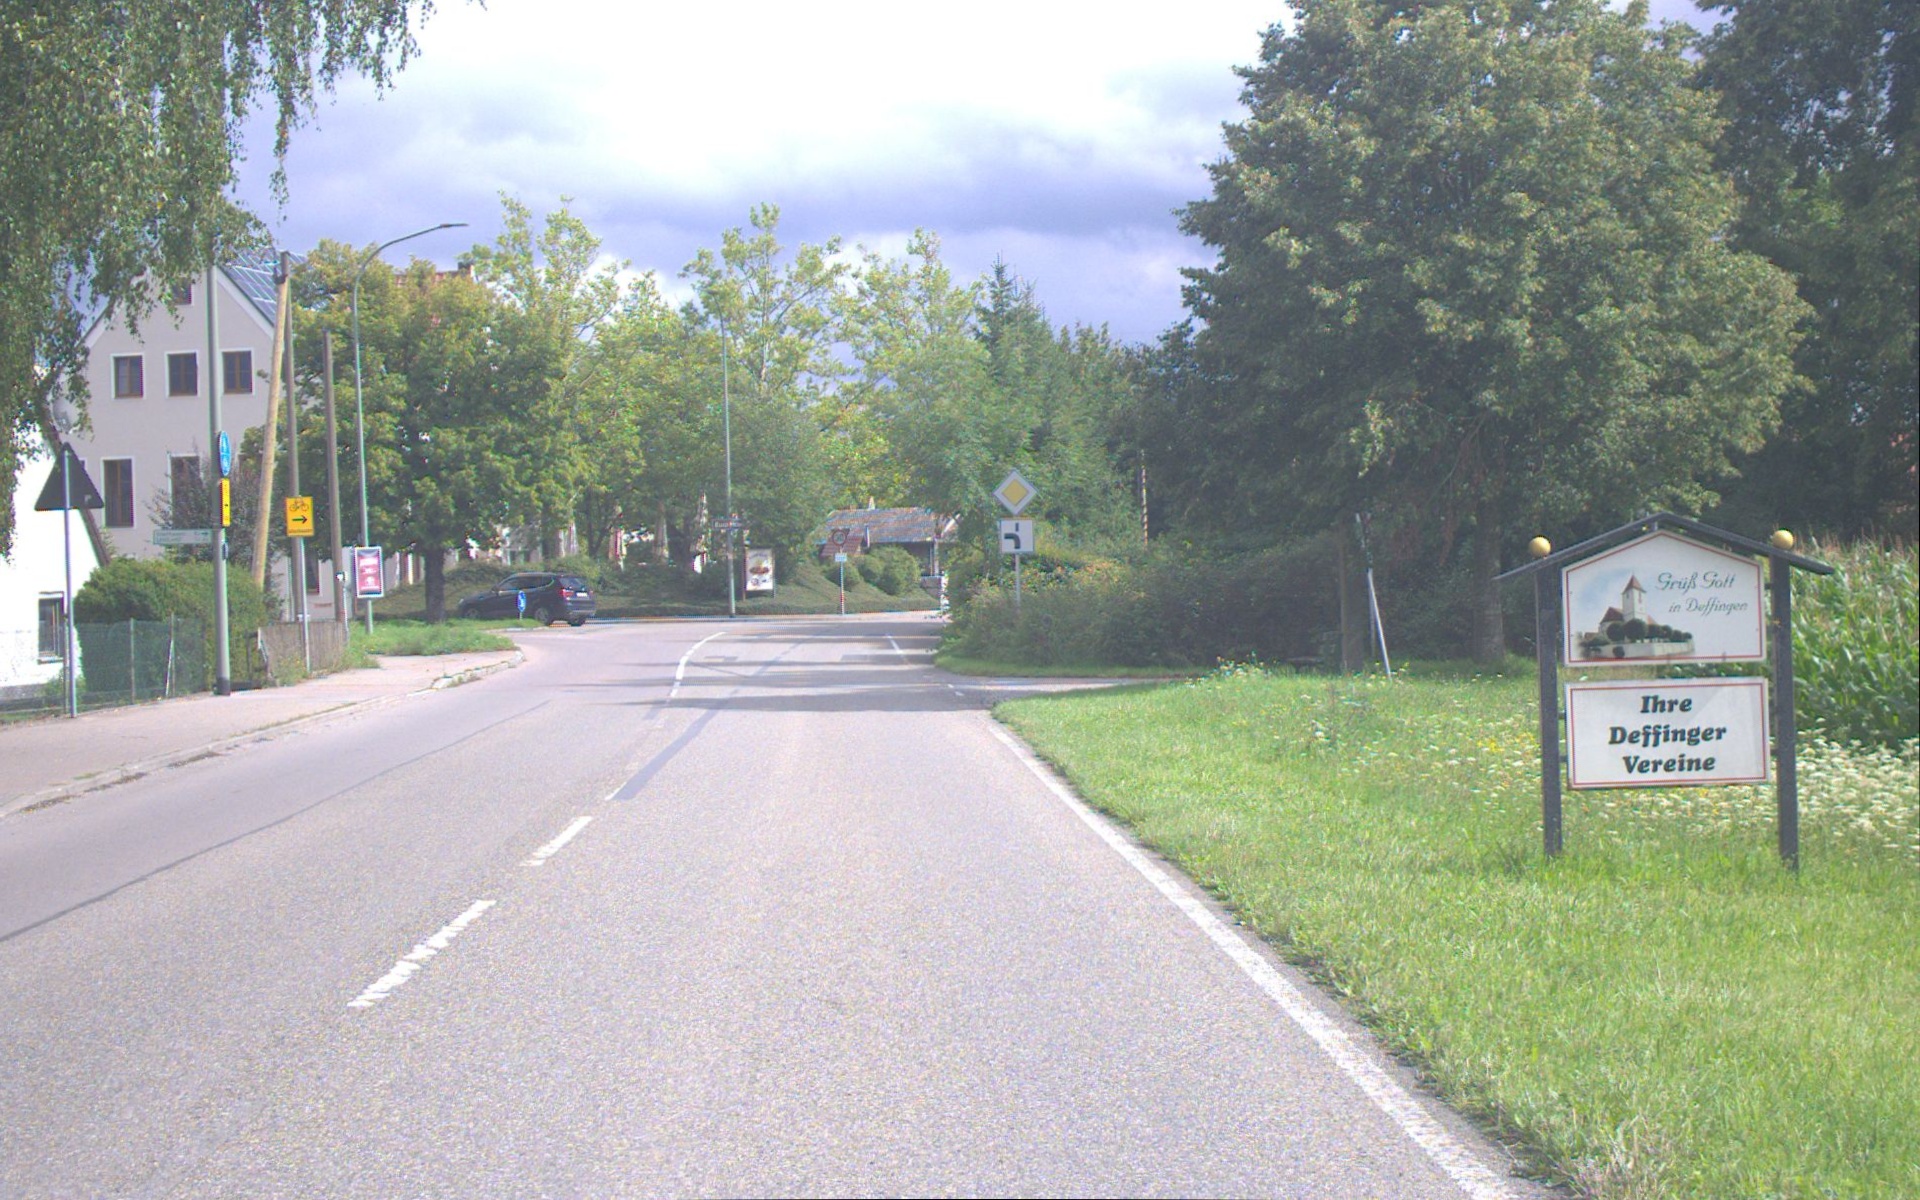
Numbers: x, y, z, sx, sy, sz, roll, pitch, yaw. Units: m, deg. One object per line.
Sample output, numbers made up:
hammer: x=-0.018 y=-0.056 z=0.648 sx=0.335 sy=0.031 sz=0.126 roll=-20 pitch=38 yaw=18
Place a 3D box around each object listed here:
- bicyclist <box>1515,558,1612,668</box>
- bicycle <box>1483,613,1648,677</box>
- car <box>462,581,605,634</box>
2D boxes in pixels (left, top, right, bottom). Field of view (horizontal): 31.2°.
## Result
bicyclist: x=8.754 y=0.179 z=49.923 sx=1.017 sy=1.580 sz=1.054 roll=0 pitch=0 yaw=-16
bicycle: x=8.790 y=0.648 z=49.933 sx=2.115 sy=0.861 sz=1.054 roll=-1 pitch=1 yaw=-16
car: x=-13.295 y=0.231 z=107.073 sx=3.993 sy=1.579 sz=1.997 roll=0 pitch=1 yaw=29
